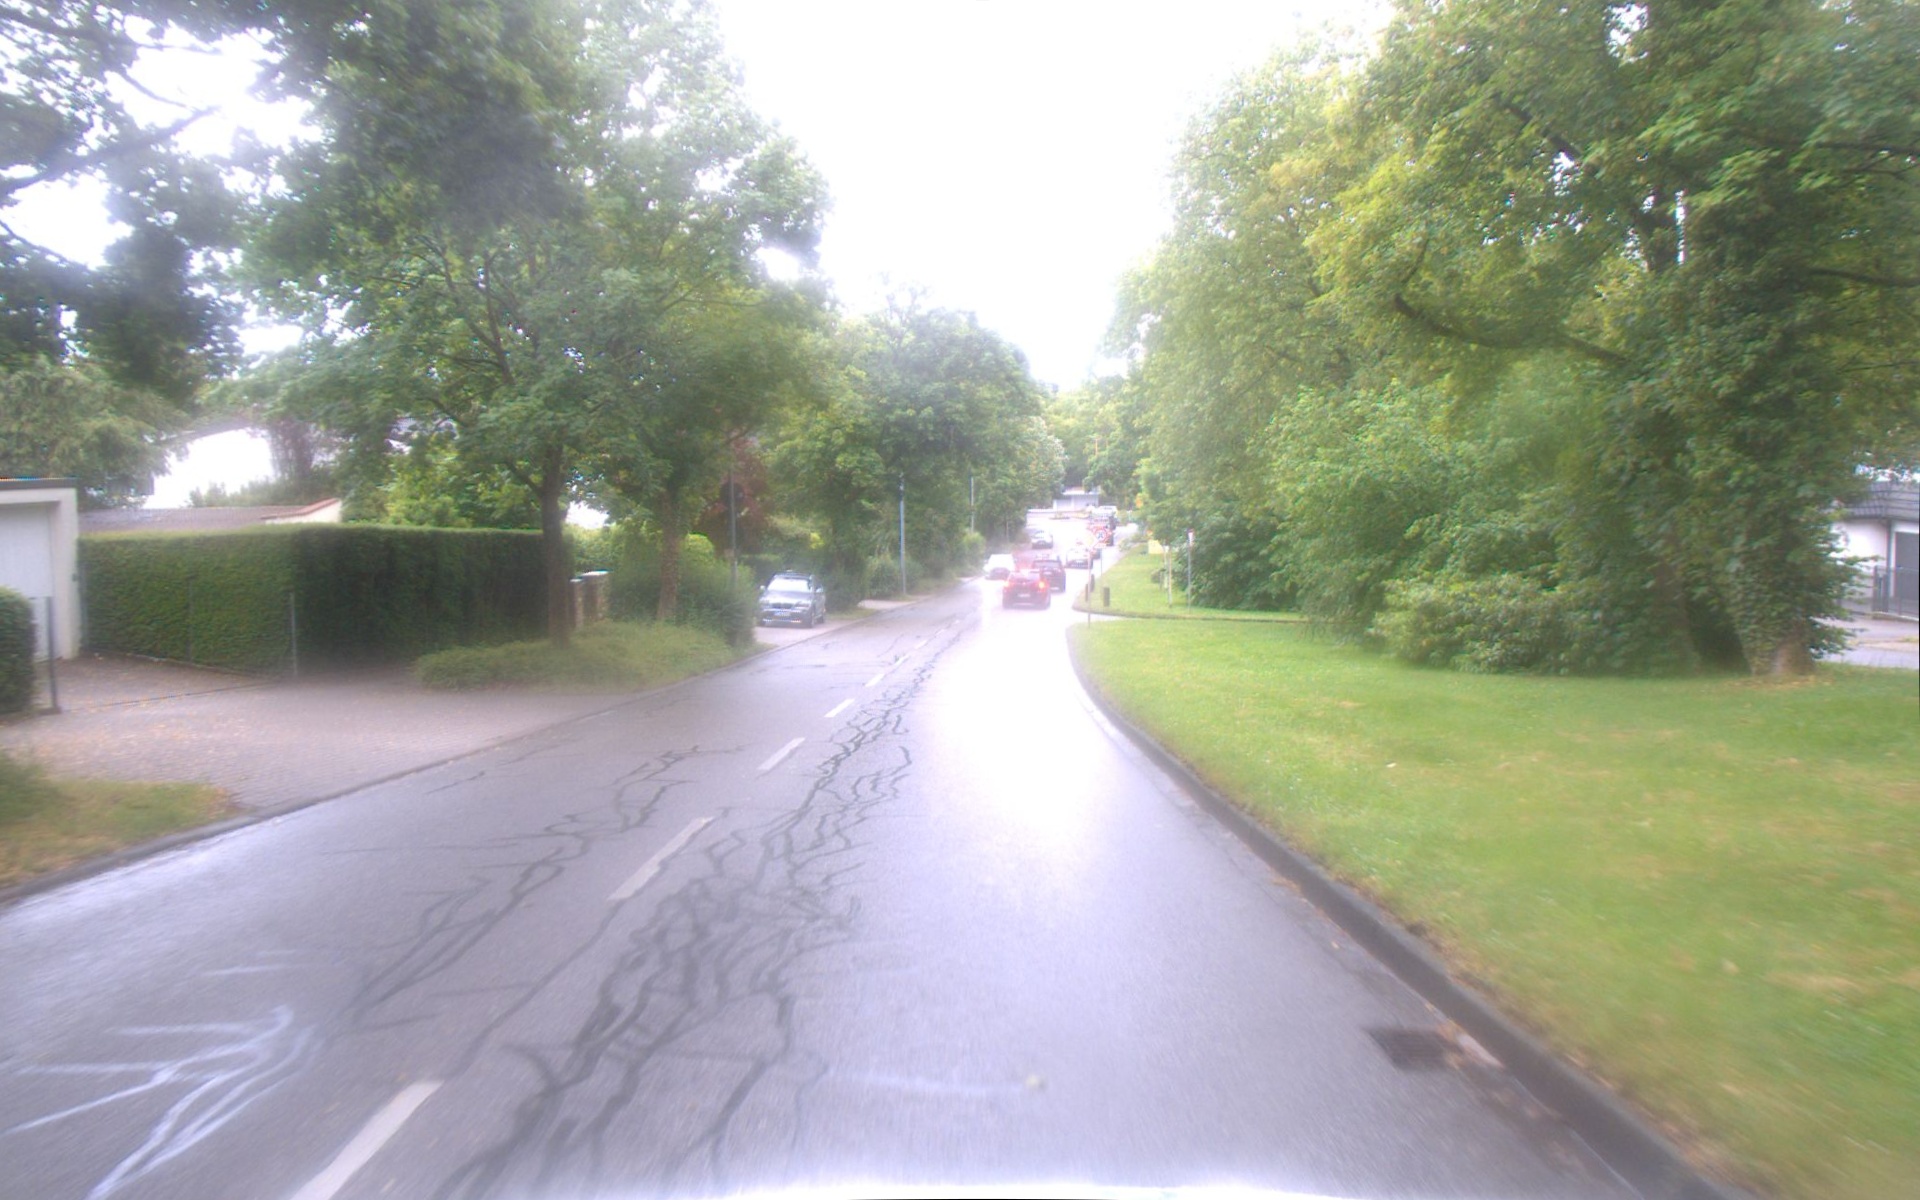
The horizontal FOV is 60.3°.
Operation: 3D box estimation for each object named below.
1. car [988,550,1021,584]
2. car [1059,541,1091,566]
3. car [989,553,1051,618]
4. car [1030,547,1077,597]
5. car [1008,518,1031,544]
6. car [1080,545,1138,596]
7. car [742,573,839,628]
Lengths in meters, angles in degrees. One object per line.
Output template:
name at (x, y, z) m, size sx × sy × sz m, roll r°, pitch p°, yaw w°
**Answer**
car at (2.694, -1.986, 99.385) m, size 1.952 × 1.683 × 4.005 m, roll 0°, pitch 6°, yaw 3°
car at (7.988, -3.233, 115.231) m, size 1.819 × 1.721 × 3.998 m, roll -1°, pitch 1°, yaw -3°
car at (2.262, -0.597, 63.499) m, size 2.103 × 2.047 × 4.002 m, roll -1°, pitch 6°, yaw -2°
car at (4.558, -1.396, 81.184) m, size 1.953 × 2.047 × 4.002 m, roll 0°, pitch 6°, yaw -3°
car at (5.309, -6.192, 148.845) m, size 1.953 × 2.047 × 4.004 m, roll 0°, pitch 6°, yaw 0°
car at (6.239, -1.239, 69.622) m, size 1.953 × 2.049 × 3.998 m, roll 0°, pitch 1°, yaw -3°
car at (-5.188, -0.010, 51.149) m, size 1.951 × 1.626 × 4.014 m, roll 0°, pitch 1°, yaw 10°
